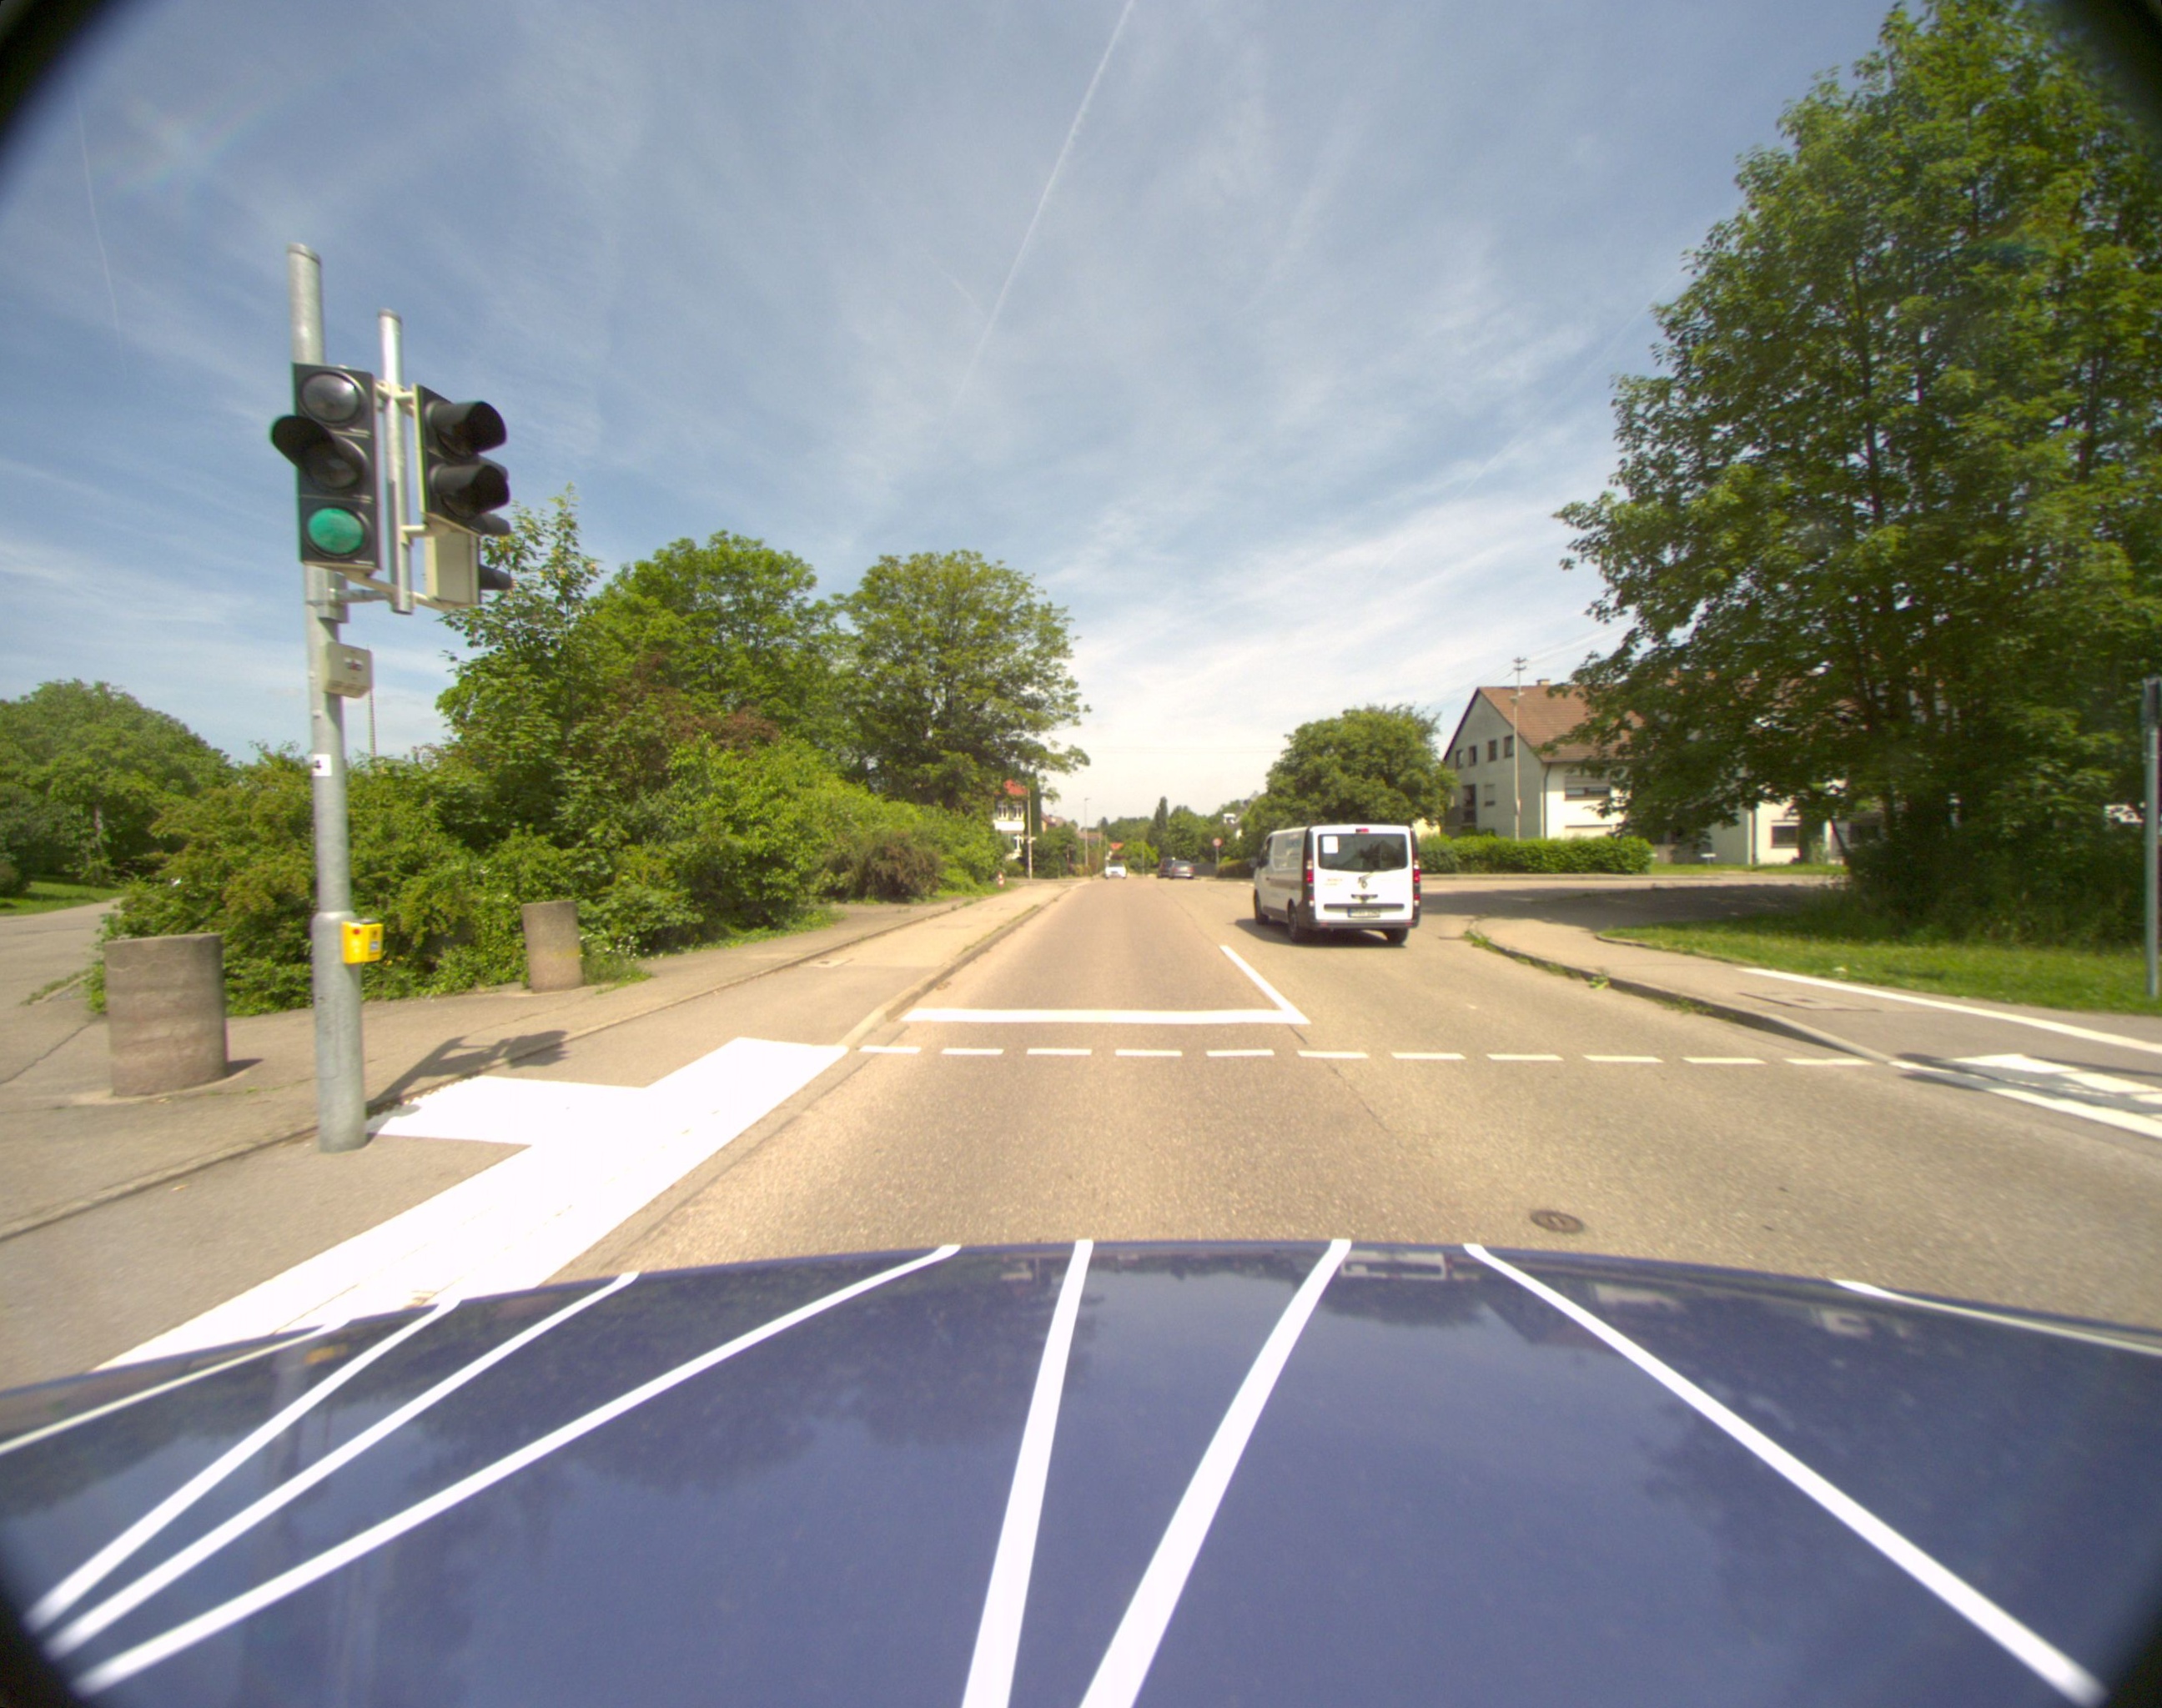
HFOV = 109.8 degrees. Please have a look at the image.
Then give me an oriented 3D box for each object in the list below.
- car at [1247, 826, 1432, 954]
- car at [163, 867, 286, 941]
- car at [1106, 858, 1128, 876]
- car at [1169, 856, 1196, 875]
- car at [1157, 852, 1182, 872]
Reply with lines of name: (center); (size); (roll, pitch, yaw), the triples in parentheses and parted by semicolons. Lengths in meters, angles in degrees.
car: (4.488, 0.518, 14.071); (1.883, 1.953, 4.902); (0, 1, 2)
car: (-21.443, 1.172, 19.159); (1.610, 1.608, 3.726); (-2, 1, -42)
car: (3.167, 1.104, 66.798); (1.826, 1.543, 4.000); (0, 0, 1)
car: (7.698, 0.859, 58.022); (1.784, 1.386, 4.410); (0, 0, 4)
car: (8.716, 0.842, 75.086); (1.901, 1.908, 4.872); (1, -1, 1)
